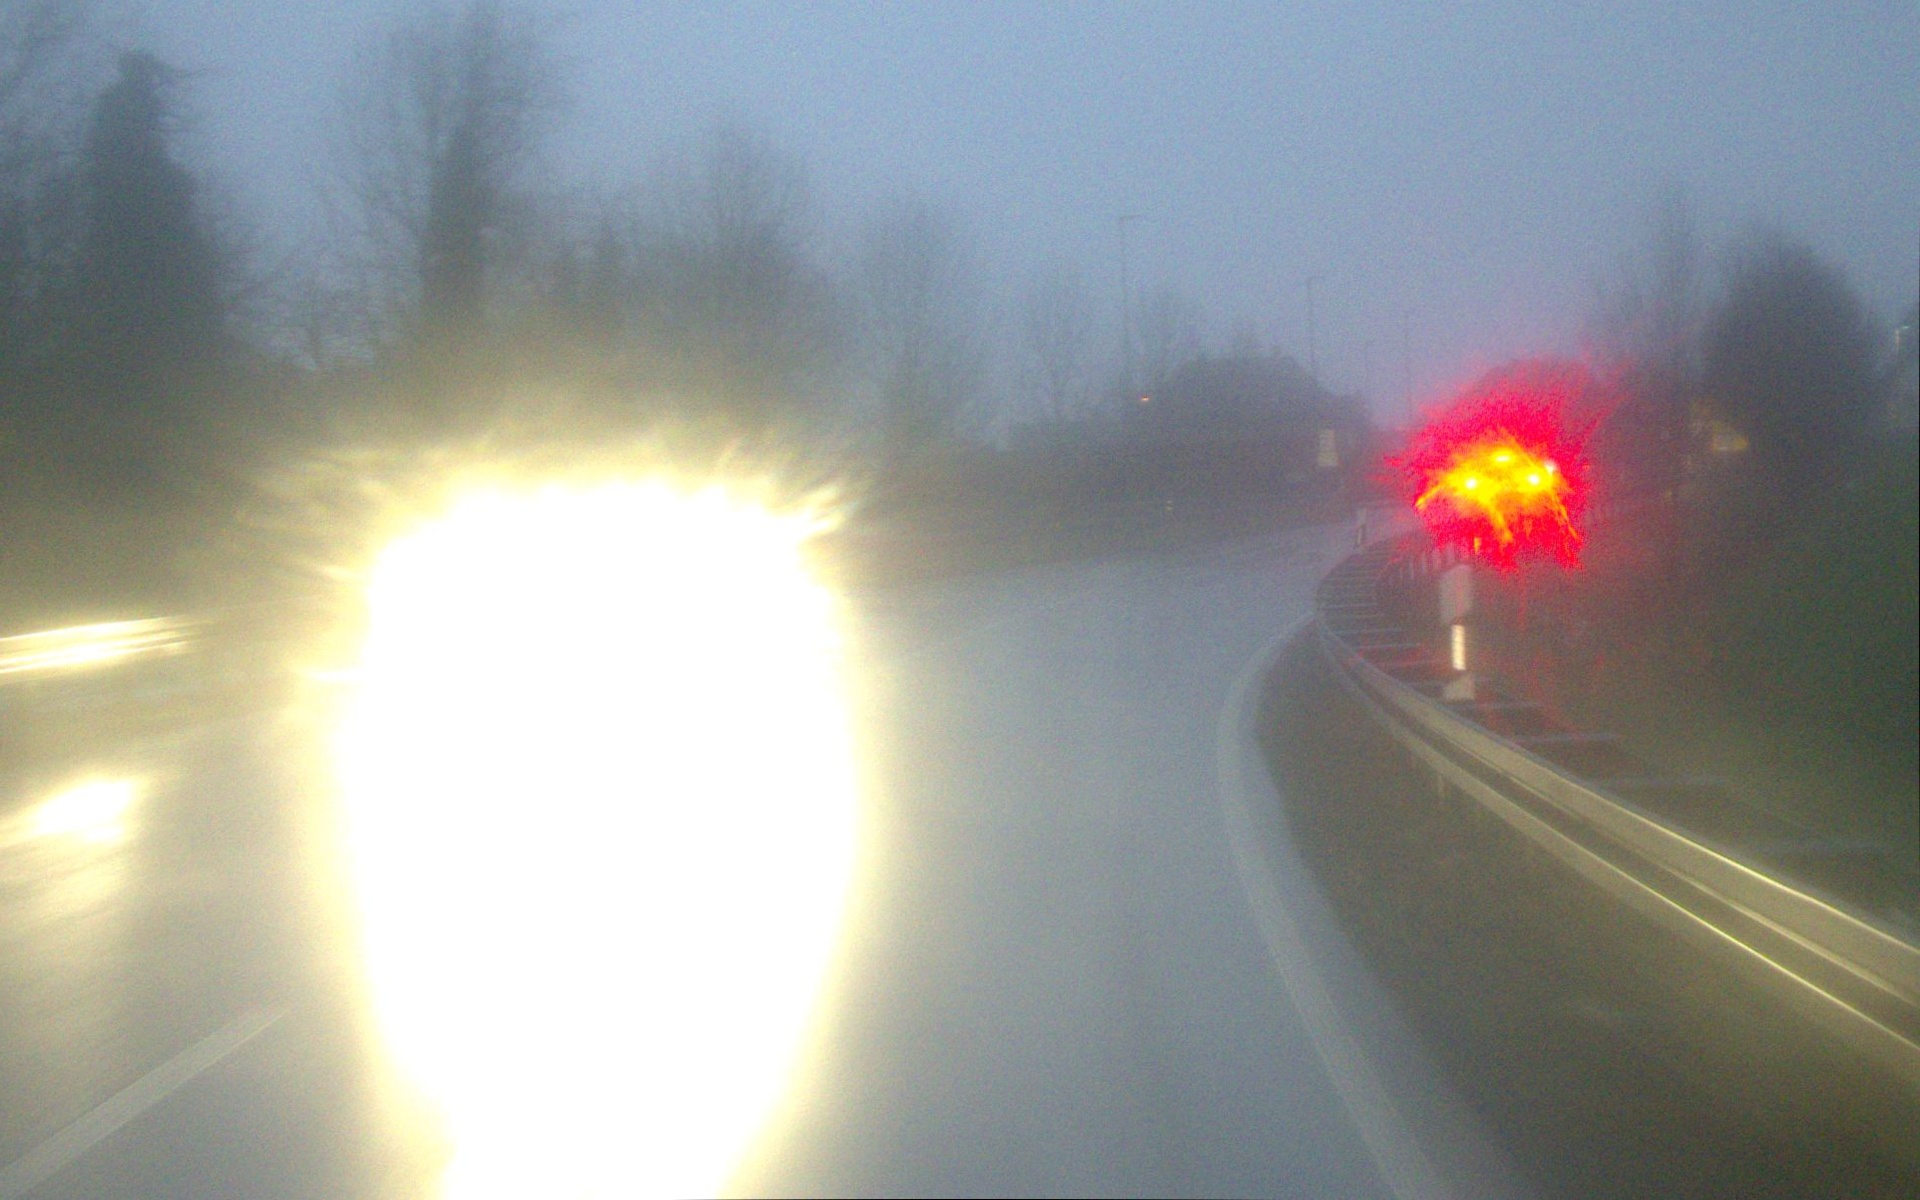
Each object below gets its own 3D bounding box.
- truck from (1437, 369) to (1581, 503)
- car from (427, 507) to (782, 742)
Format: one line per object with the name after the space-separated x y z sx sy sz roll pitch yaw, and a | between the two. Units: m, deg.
13.015 -3.865 81.154 2.533 2.859 5.919 -4 2 16 | truck
-2.836 0.127 28.532 1.994 1.615 4.597 -4 2 5 | car
